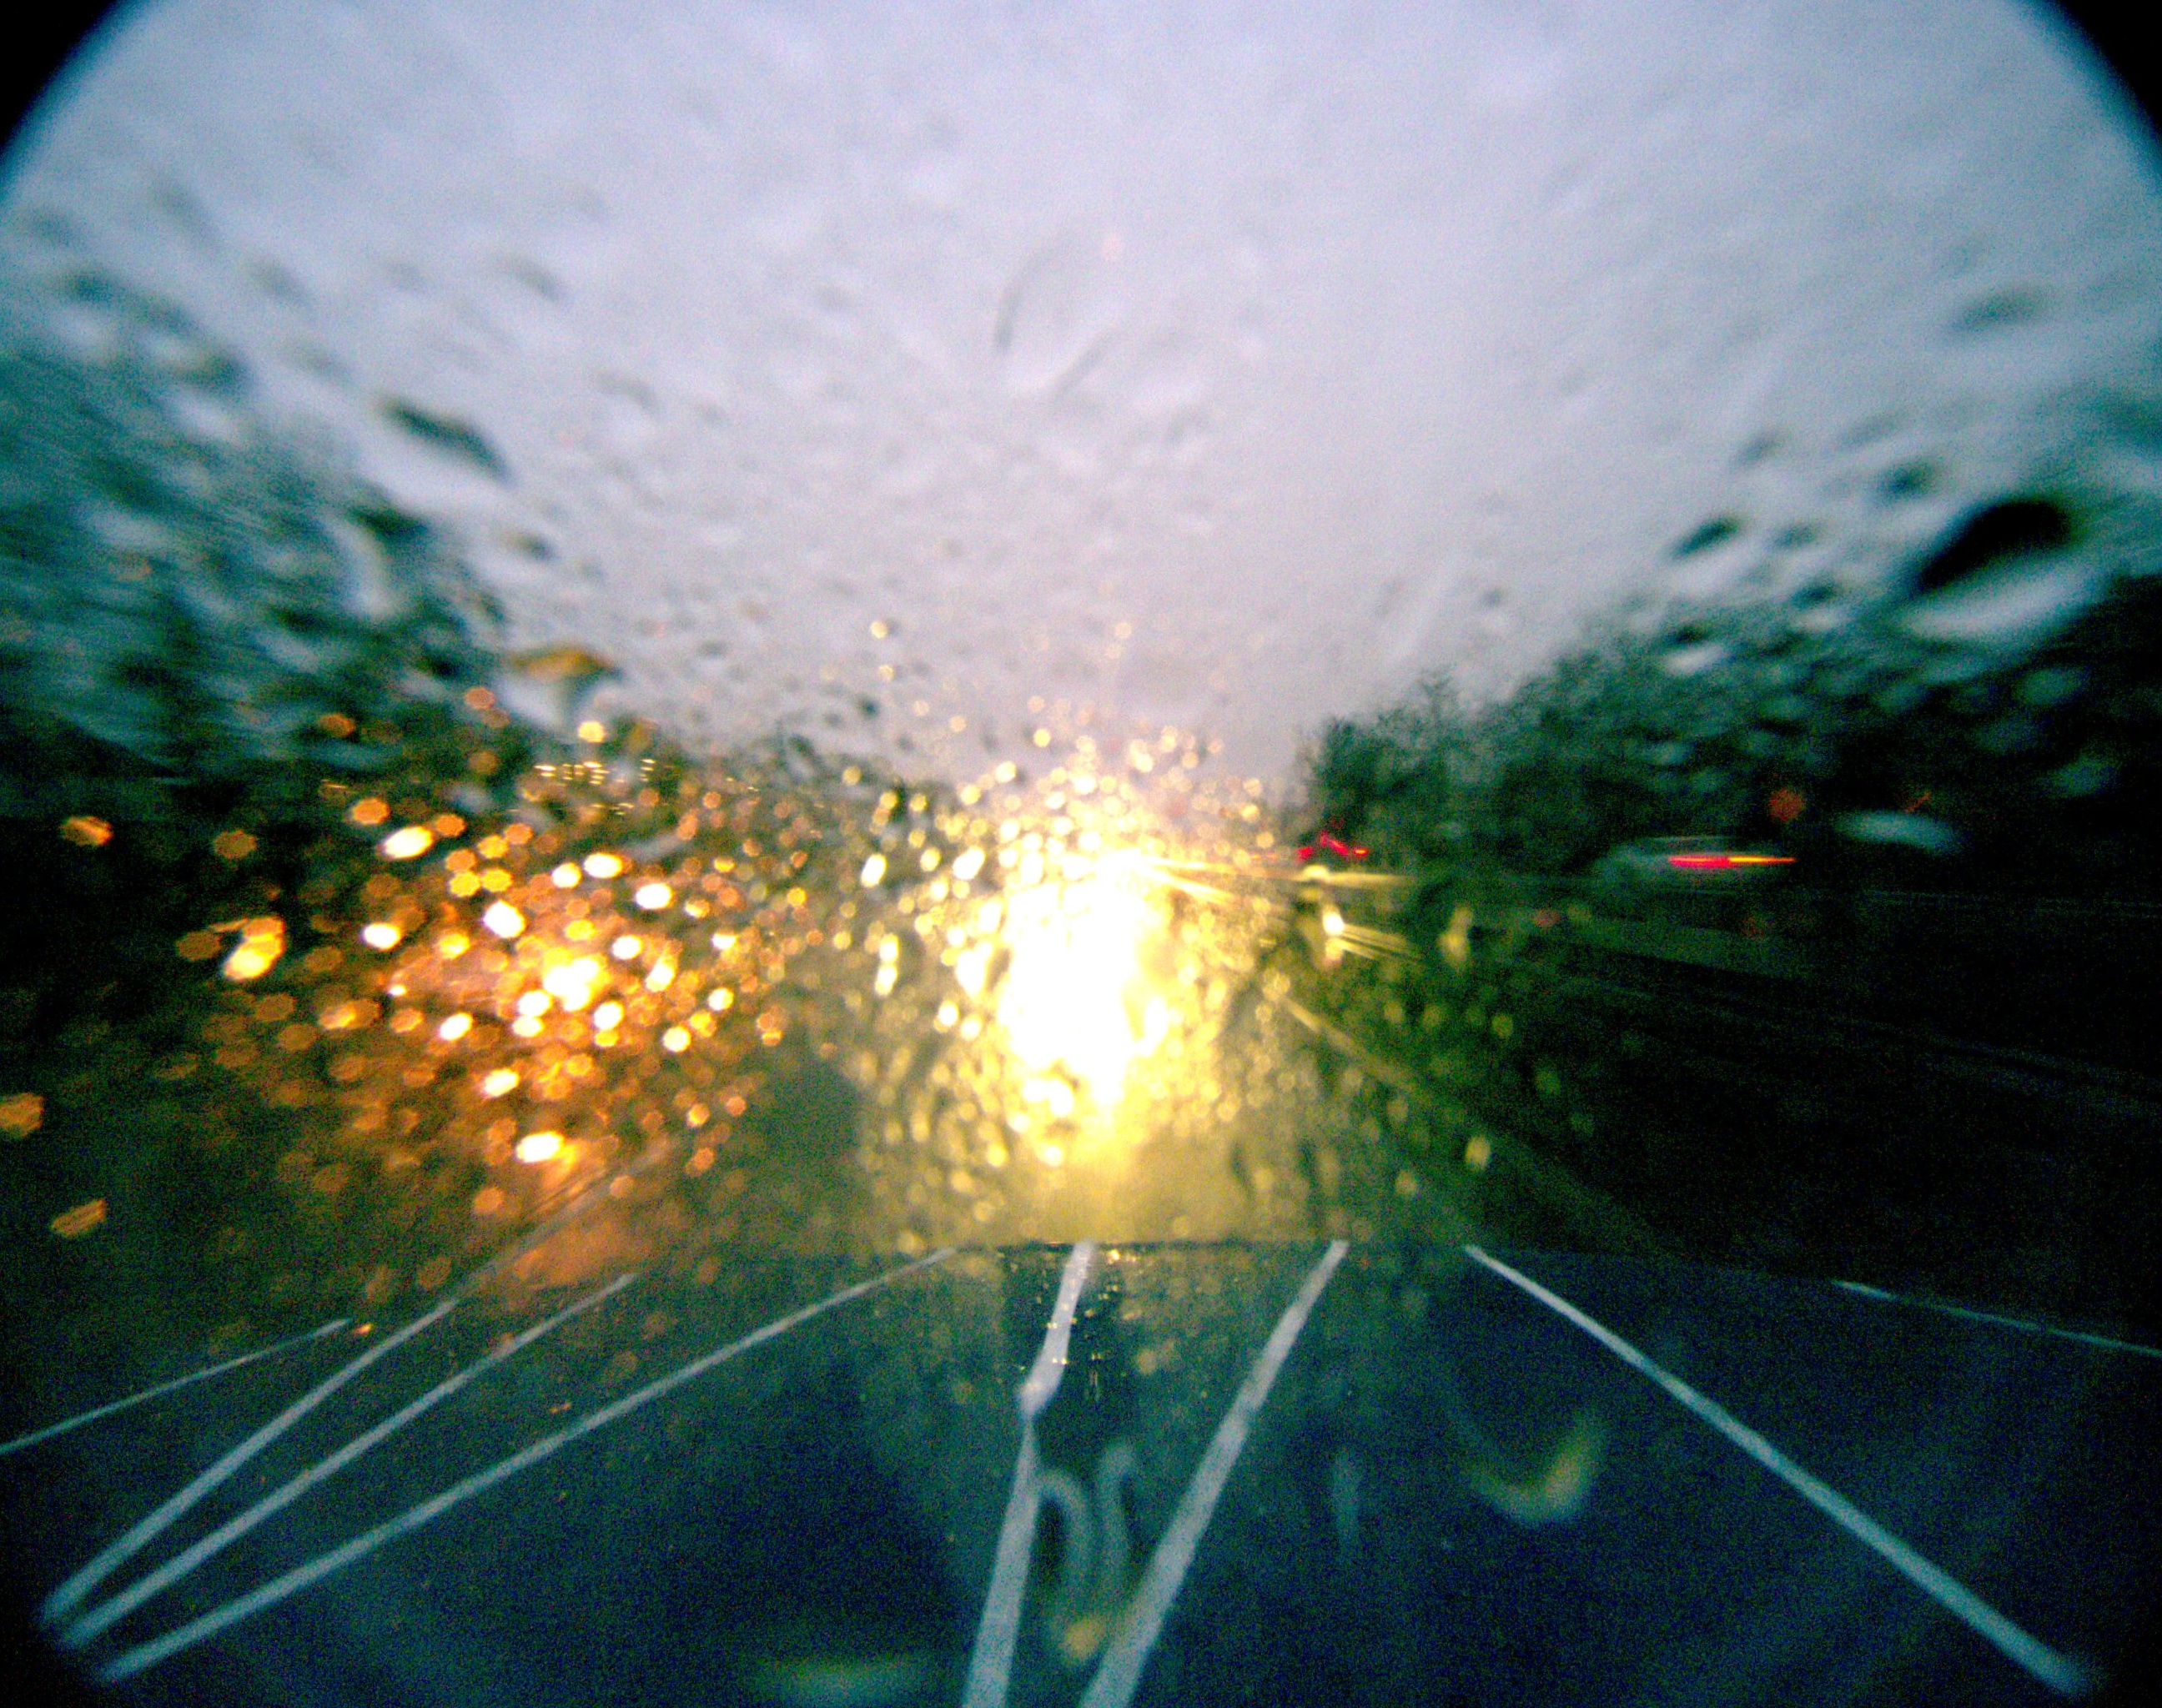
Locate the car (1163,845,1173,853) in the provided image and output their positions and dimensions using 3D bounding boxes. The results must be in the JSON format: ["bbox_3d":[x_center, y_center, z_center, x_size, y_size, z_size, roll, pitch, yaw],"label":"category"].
[{"bbox_3d":[17.668,-1.007,154.509,1.620,1.475,4.599,-3,1,4],"label":"car"}]

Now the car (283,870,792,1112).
[{"bbox_3d":[-4.682,1.028,7.547,1.854,1.493,4.262,-3,1,1],"label":"car"}]

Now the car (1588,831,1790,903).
[{"bbox_3d":[15.187,0.264,19.315,1.867,1.530,4.112,-3,1,1],"label":"car"}]

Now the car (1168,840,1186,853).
[{"bbox_3d":[12.050,-0.919,95.790,1.787,1.501,4.135,-3,1,2],"label":"car"}]

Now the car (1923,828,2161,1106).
[{"bbox_3d":[6.631,0.607,3.196,1.758,1.433,3.999,-3,1,1],"label":"car"}]

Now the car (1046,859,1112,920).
[{"bbox_3d":[0.034,0.916,21.487,1.594,1.445,4.177,-3,0,3],"label":"car"}]

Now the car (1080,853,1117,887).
[{"bbox_3d":[0.873,0.796,39.813,1.759,1.521,3.999,-3,1,-1],"label":"car"}]

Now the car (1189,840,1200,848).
[{"bbox_3d":[24.142,-2.088,161.817,1.708,1.557,4.851,-3,1,4],"label":"car"}]

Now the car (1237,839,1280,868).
[{"bbox_3d":[12.055,-0.059,51.939,1.888,1.822,4.786,-3,1,1],"label":"car"}]

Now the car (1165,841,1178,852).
[{"bbox_3d":[13.353,-1.174,111.844,1.657,1.510,3.505,-3,1,3],"label":"car"}]

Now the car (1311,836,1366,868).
[{"bbox_3d":[16.100,-0.178,47.799,1.885,1.822,4.786,-3,1,1],"label":"car"}]
